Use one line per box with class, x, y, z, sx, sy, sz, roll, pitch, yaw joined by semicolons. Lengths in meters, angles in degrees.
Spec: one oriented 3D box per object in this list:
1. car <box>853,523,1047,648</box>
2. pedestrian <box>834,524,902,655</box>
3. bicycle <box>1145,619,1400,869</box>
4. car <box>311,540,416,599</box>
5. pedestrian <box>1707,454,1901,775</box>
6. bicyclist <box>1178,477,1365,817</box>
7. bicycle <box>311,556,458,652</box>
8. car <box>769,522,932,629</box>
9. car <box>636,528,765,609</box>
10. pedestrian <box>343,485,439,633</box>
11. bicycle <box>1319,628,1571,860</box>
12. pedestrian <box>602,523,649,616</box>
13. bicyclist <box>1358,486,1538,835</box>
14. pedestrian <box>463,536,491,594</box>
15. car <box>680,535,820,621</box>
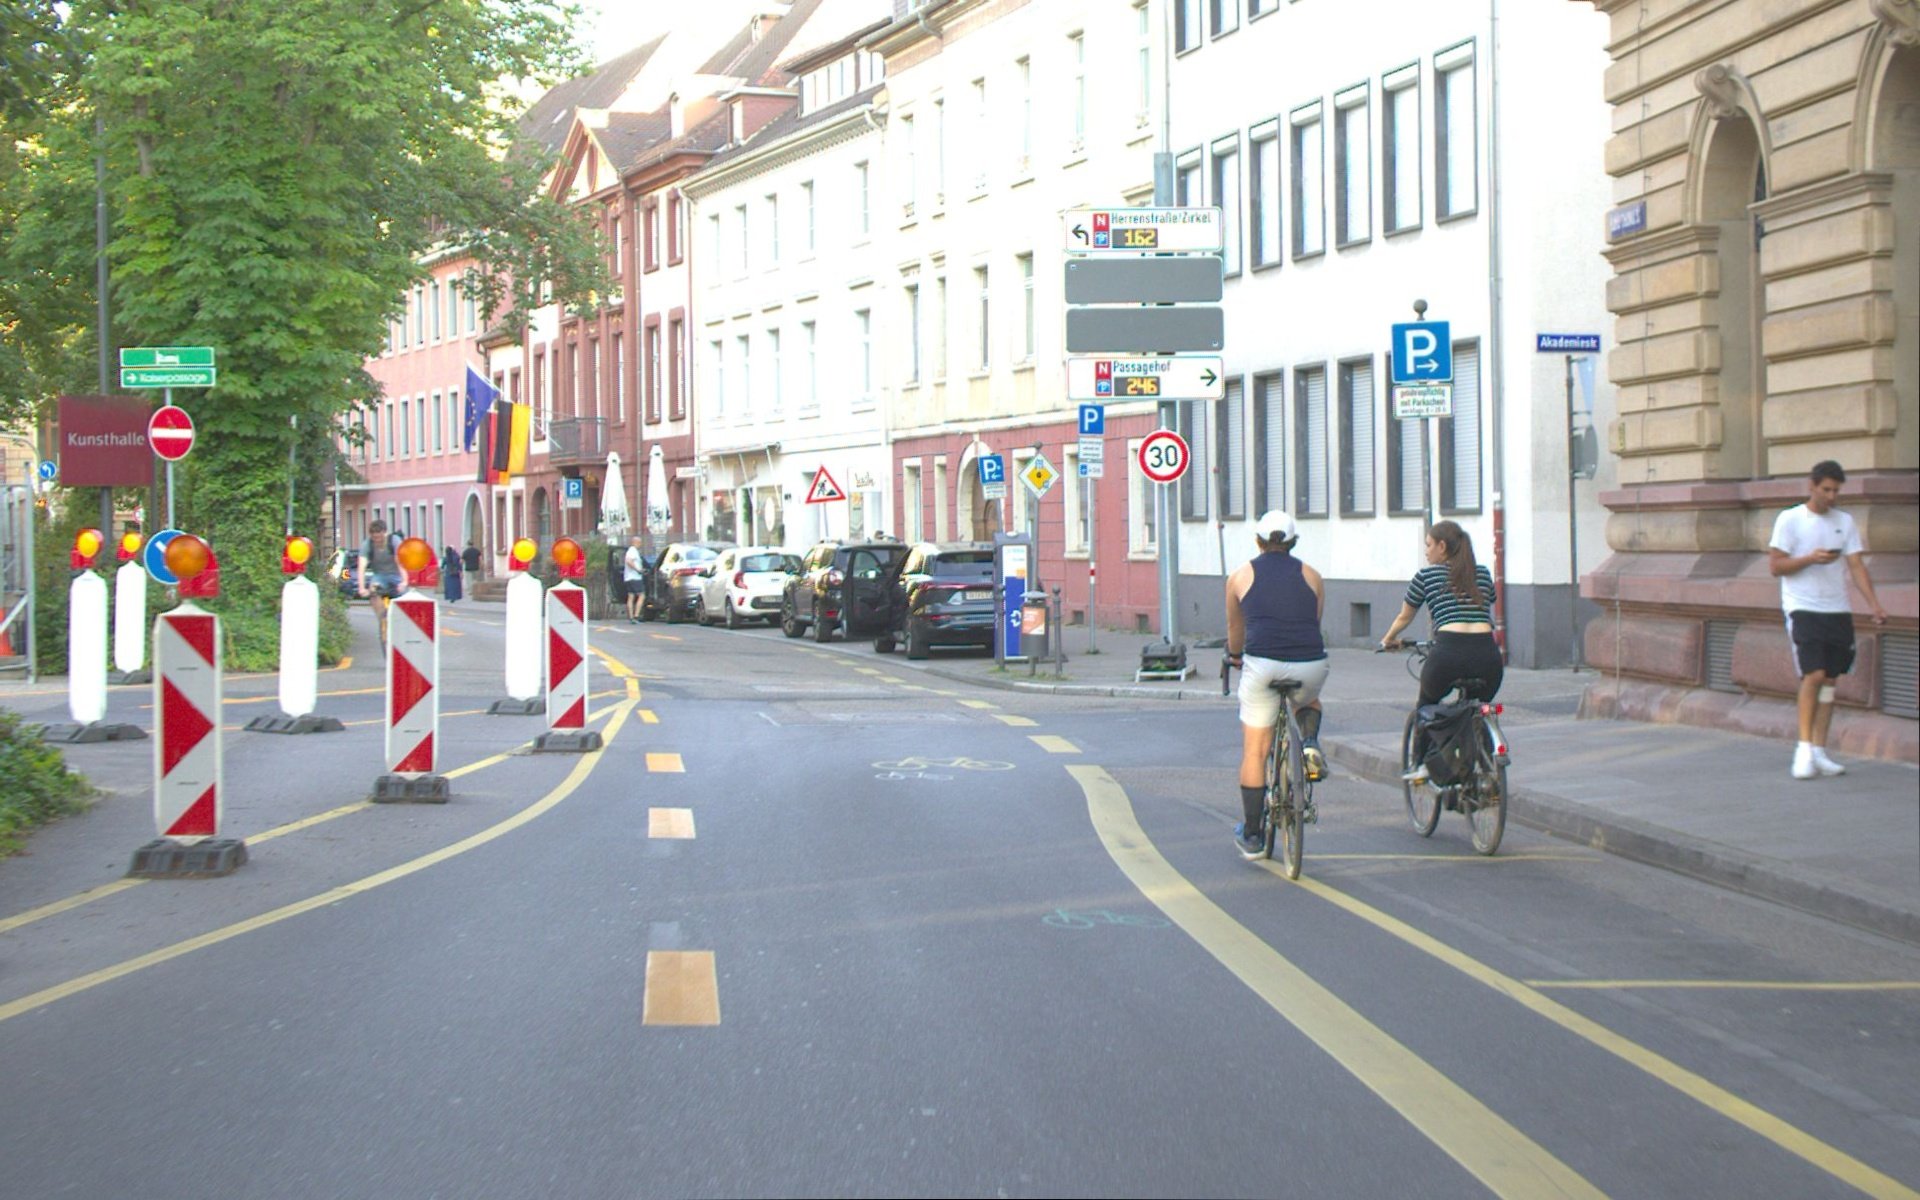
car;-0.184;-0.235;48.503;1.812;1.676;3.921;-1;1;-15
pedestrian;-1.331;-0.159;49.446;0.900;1.859;0.932;0;1;-6
bicycle;1.446;0.652;16.290;0.669;1.067;1.902;1;1;-11
car;-16.260;-0.849;93.596;1.812;1.554;3.865;-1;1;-26
pedestrian;4.759;0.063;19.442;0.817;1.759;1.038;1;1;0
bicyclist;1.464;0.215;16.264;0.668;1.560;0.699;1;1;-11
bicycle;-6.539;0.033;39.160;0.761;1.034;2.119;0;1;18
car;-1.845;-0.428;56.609;1.812;1.678;4.001;-1;1;-15
car;-5.204;-0.642;68.628;1.812;1.554;3.866;-1;1;-16
pedestrian;-6.497;-0.472;39.266;0.735;1.668;0.894;0;1;19
bicycle;2.497;0.716;17.973;0.652;1.067;2.259;1;1;-9
pedestrian;-6.692;-0.624;68.797;0.831;1.838;0.958;1;1;0
bicyclist;2.522;0.296;17.829;0.649;1.754;0.864;1;1;-9
pedestrian;-14.600;-1.058;103.868;0.750;1.756;0.586;-1;1;-18
car;-3.968;-0.431;64.495;1.812;1.554;3.866;-1;1;-16
